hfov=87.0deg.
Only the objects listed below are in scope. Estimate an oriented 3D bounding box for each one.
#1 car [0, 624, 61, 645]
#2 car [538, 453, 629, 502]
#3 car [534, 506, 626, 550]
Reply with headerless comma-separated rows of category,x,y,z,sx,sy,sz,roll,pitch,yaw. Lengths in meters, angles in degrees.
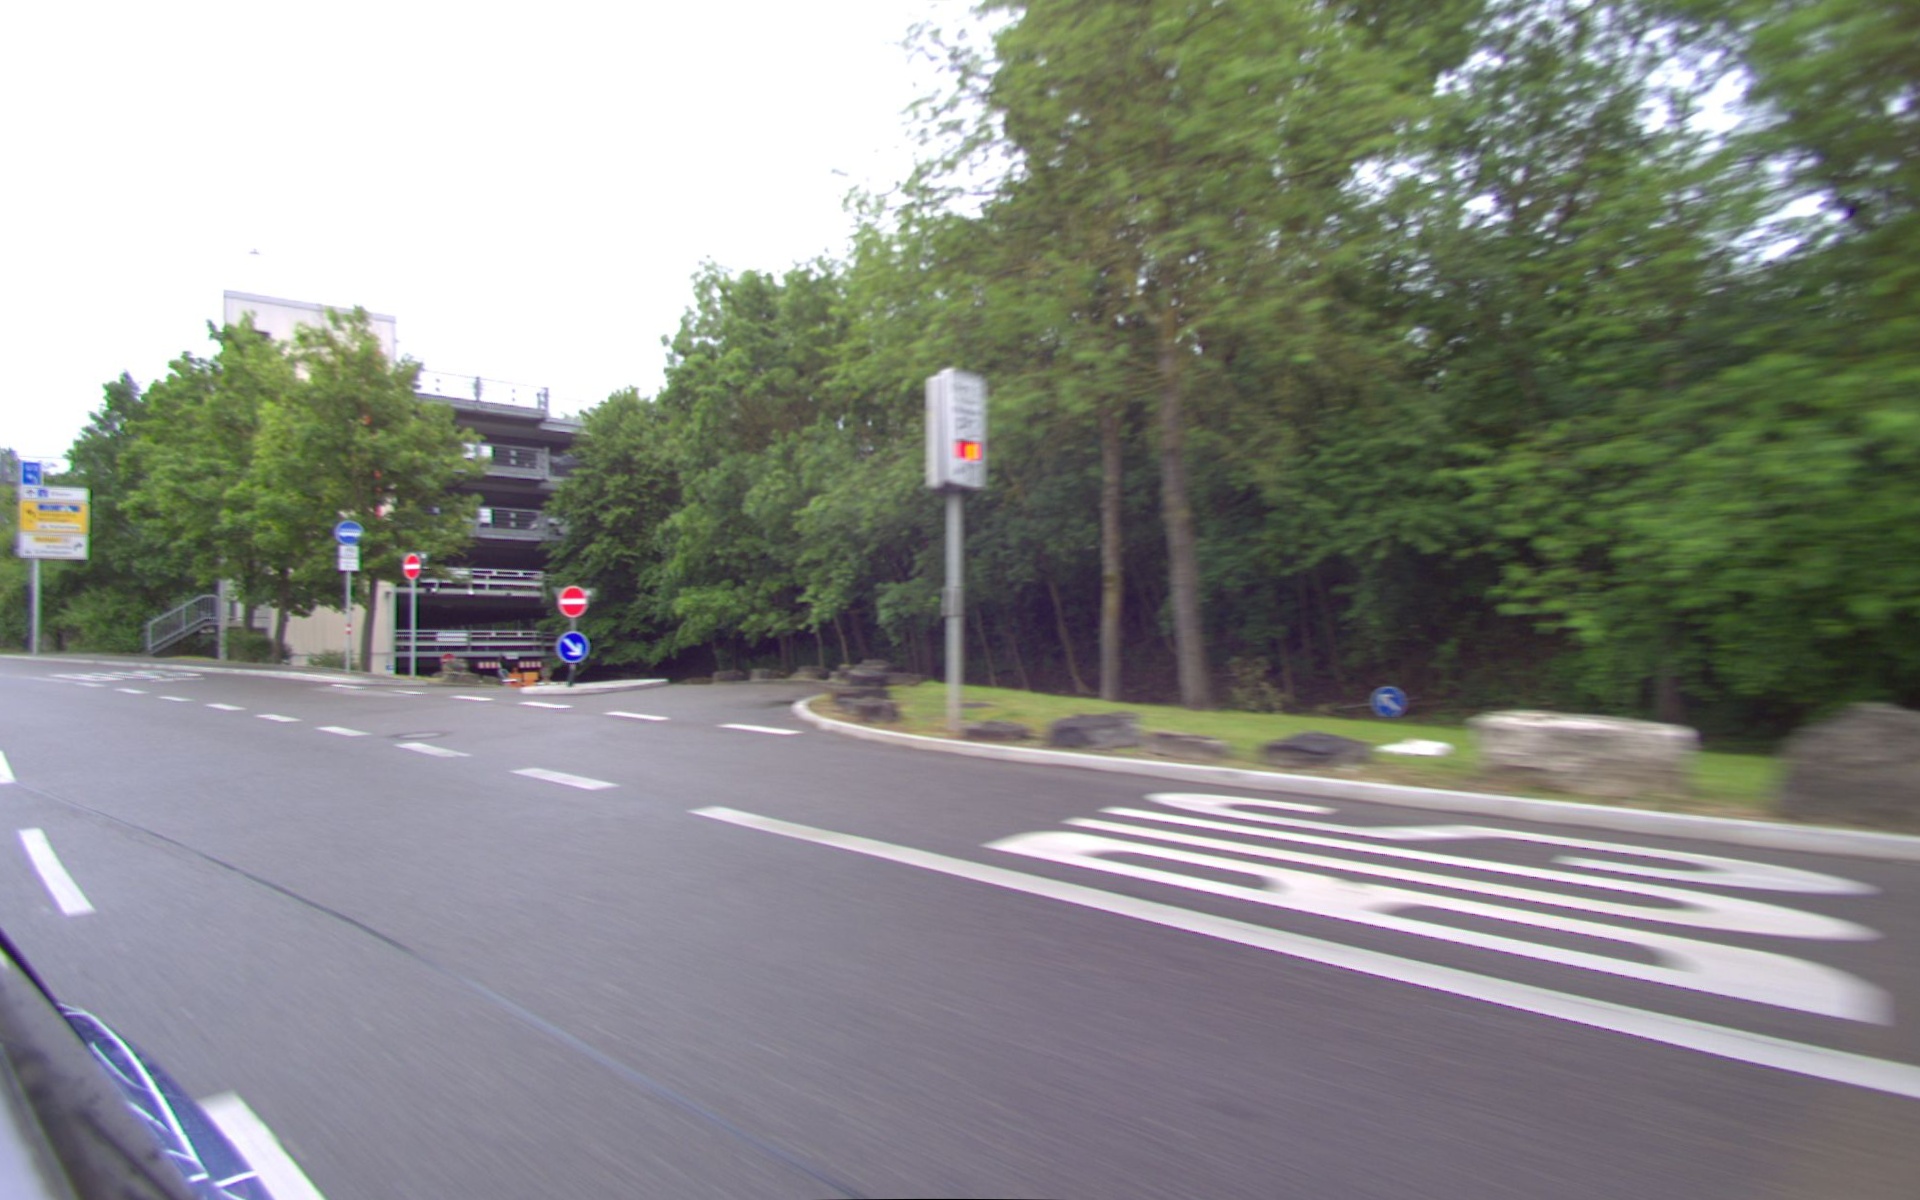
car,-71.664,2.654,77.489,3.932,1.530,2.006,2,-3,-32
car,-19.019,-6.148,51.152,3.934,1.785,2.004,1,-4,-36
car,-19.231,-3.597,51.258,3.934,1.785,2.004,1,-4,-36
